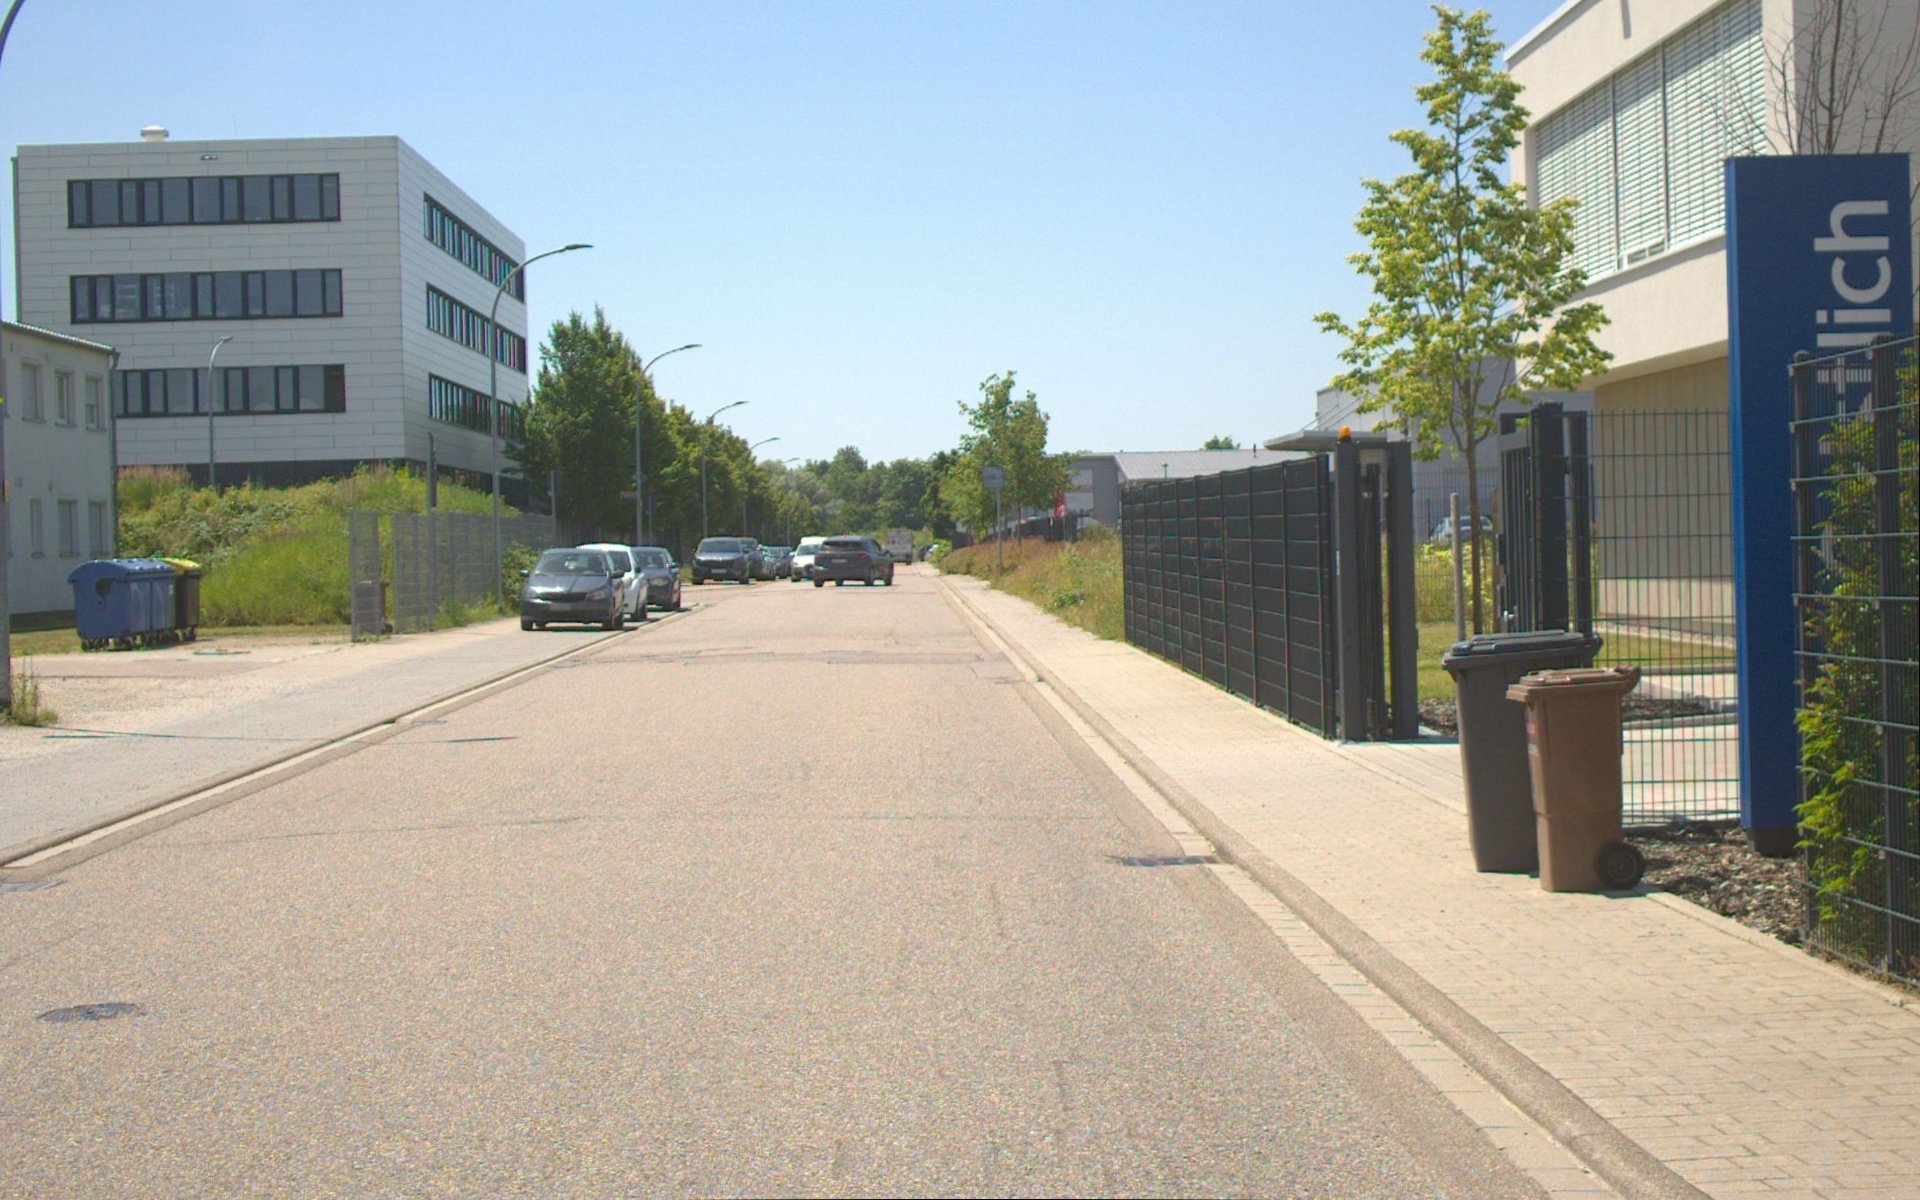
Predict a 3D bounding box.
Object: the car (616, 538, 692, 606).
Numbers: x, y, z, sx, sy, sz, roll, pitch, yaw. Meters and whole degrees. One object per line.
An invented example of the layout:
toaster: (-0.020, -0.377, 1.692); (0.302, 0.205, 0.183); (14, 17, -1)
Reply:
car: (-6.948, -0.649, 78.231); (1.466, 1.484, 3.207); (-1, 1, -1)

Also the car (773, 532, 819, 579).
car: (-5.949, -1.615, 124.974); (1.506, 1.637, 3.207); (-1, 1, -1)

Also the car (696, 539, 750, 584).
car: (-8.061, -1.325, 117.286); (1.644, 1.484, 3.207); (-1, 1, -1)

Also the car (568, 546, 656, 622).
car: (-6.963, -0.333, 69.008); (1.466, 1.484, 3.207); (-1, 1, -1)

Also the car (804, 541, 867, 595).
car: (-3.831, -0.991, 106.300); (1.826, 1.637, 3.207); (-1, 1, -1)

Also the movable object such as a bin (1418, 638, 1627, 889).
movable object such as a bin: (2.537, 0.729, 15.569); (0.779, 1.016, 0.665); (-5, 2, 3)

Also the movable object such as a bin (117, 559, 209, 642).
movable object such as a bin: (-13.801, -0.002, 59.575); (1.285, 1.407, 1.807); (-1, 1, -5)

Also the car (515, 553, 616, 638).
car: (-7.129, -0.100, 62.315); (1.466, 1.484, 3.207); (-1, 1, -1)

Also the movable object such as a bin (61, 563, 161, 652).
movable object such as a bin: (-13.817, 0.112, 55.985); (1.285, 1.407, 1.807); (-1, 1, -5)

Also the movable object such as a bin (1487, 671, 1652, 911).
movable object such as a bin: (2.580, 0.801, 14.587); (0.552, 0.925, 0.522); (-5, 2, 3)
